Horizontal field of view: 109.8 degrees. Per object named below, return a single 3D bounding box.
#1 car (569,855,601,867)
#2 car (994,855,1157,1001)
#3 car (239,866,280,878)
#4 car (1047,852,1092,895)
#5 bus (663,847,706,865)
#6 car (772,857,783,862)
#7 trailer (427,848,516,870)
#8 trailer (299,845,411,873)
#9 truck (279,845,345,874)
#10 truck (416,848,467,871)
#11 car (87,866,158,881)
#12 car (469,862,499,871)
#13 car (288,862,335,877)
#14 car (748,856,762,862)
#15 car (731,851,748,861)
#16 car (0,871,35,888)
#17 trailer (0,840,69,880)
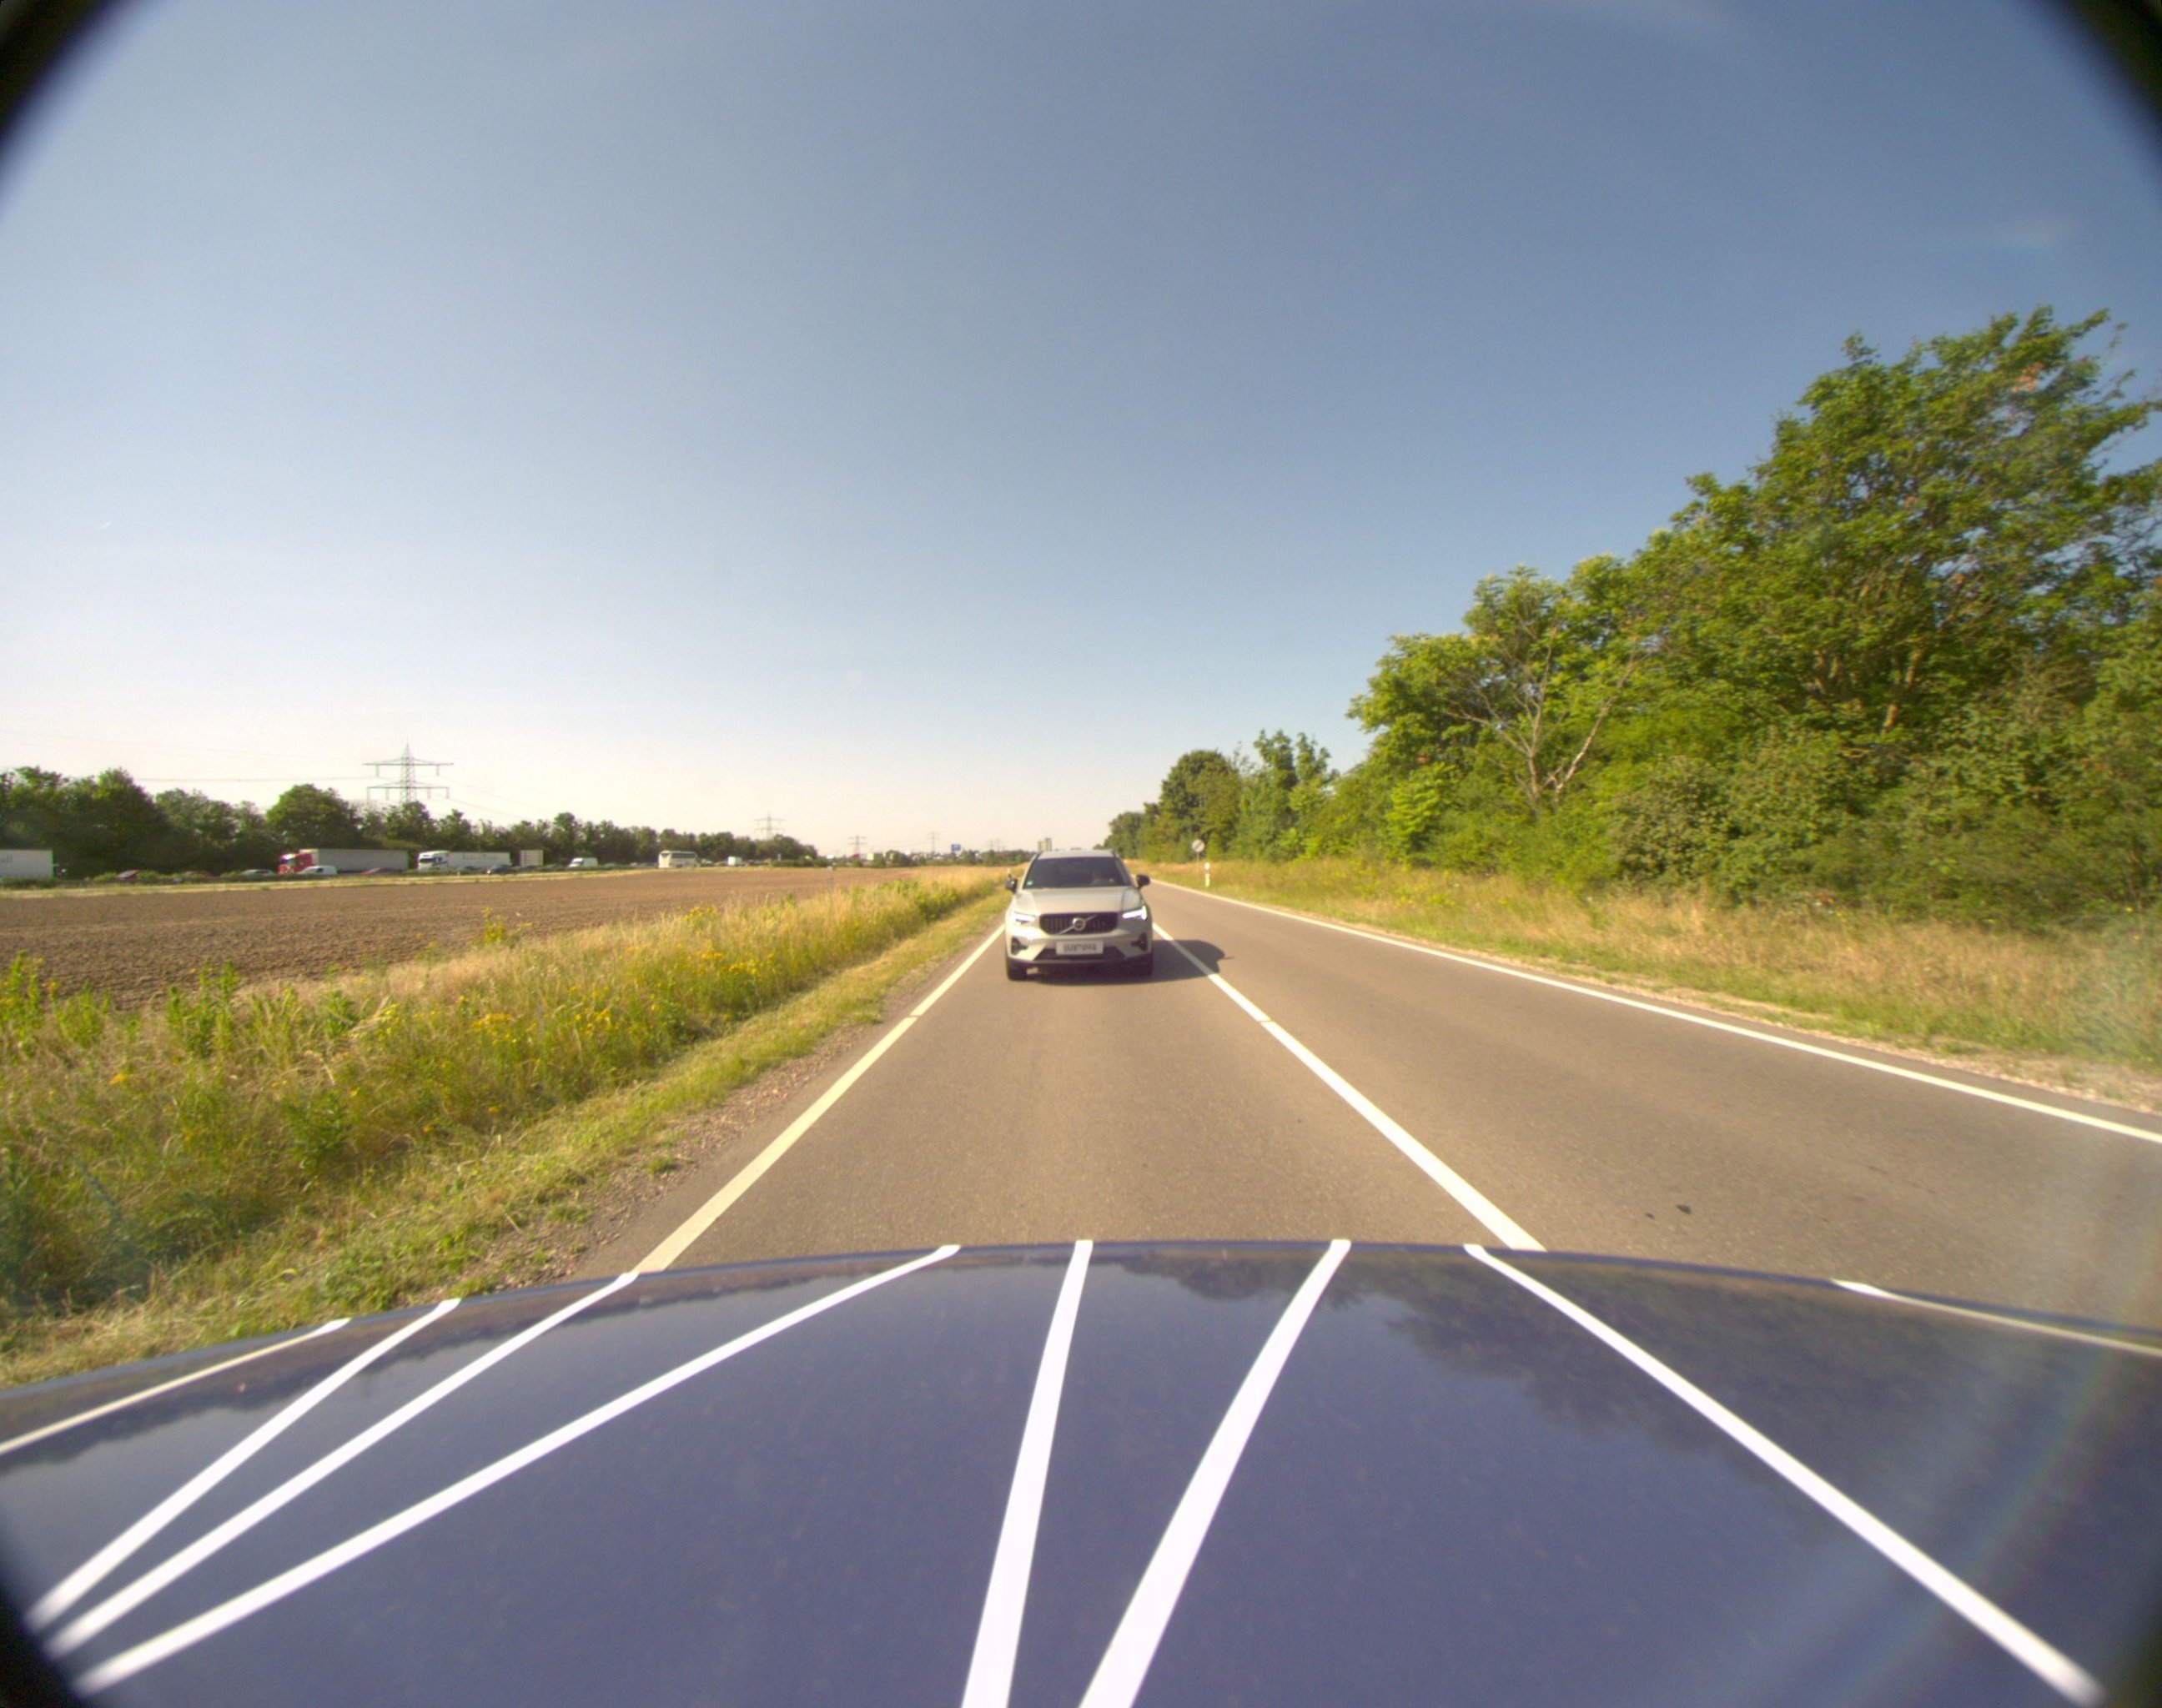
[{"bbox_3d":[-98.736,1.367,151.274,2.042,2.433,6.413,-2,0,0],"label":"car"},{"bbox_3d":[-0.069,0.863,10.843,1.840,1.628,4.135,-2,0,0],"label":"car"},{"bbox_3d":[-97.164,2.175,89.912,1.344,1.276,3.291,-3,0,-3],"label":"car"},{"bbox_3d":[-0.504,0.795,32.627,1.790,1.664,3.999,-1,0,-1],"label":"car"},{"bbox_3d":[-88.860,0.534,170.603,2.469,3.781,14.545,-1,0,-2],"label":"bus"},{"bbox_3d":[-97.120,1.603,243.238,1.707,1.500,4.093,-3,0,-1],"label":"car"},{"bbox_3d":[-103.481,0.852,129.546,3.211,3.510,15.080,0,0,-1],"label":"trailer"},{"bbox_3d":[-103.421,0.689,108.763,2.953,3.711,13.780,-1,0,-1],"label":"trailer"},{"bbox_3d":[-103.355,0.713,102.241,2.953,3.711,5.869,-1,0,-1],"label":"truck"},{"bbox_3d":[-103.348,0.855,122.899,3.211,3.510,6.108,0,0,-1],"label":"truck"},{"bbox_3d":[-97.167,1.998,77.092,1.855,1.377,4.247,-2,0,-1],"label":"car"},{"bbox_3d":[-88.830,1.843,113.084,1.550,1.227,3.619,-4,0,-1],"label":"car"},{"bbox_3d":[-96.866,1.921,95.664,1.707,1.629,4.093,-3,0,-2],"label":"car"},{"bbox_3d":[-85.591,1.200,199.508,1.707,1.464,4.209,-3,0,0],"label":"car"},{"bbox_3d":[-90.010,0.563,200.534,1.999,2.358,5.520,-3,0,-1],"label":"car"},{"bbox_3d":[-96.921,2.313,67.589,1.855,1.377,4.247,-2,0,-1],"label":"car"},{"bbox_3d":[-102.557,0.589,69.117,3.079,3.711,13.365,-1,0,0],"label":"trailer"}]
